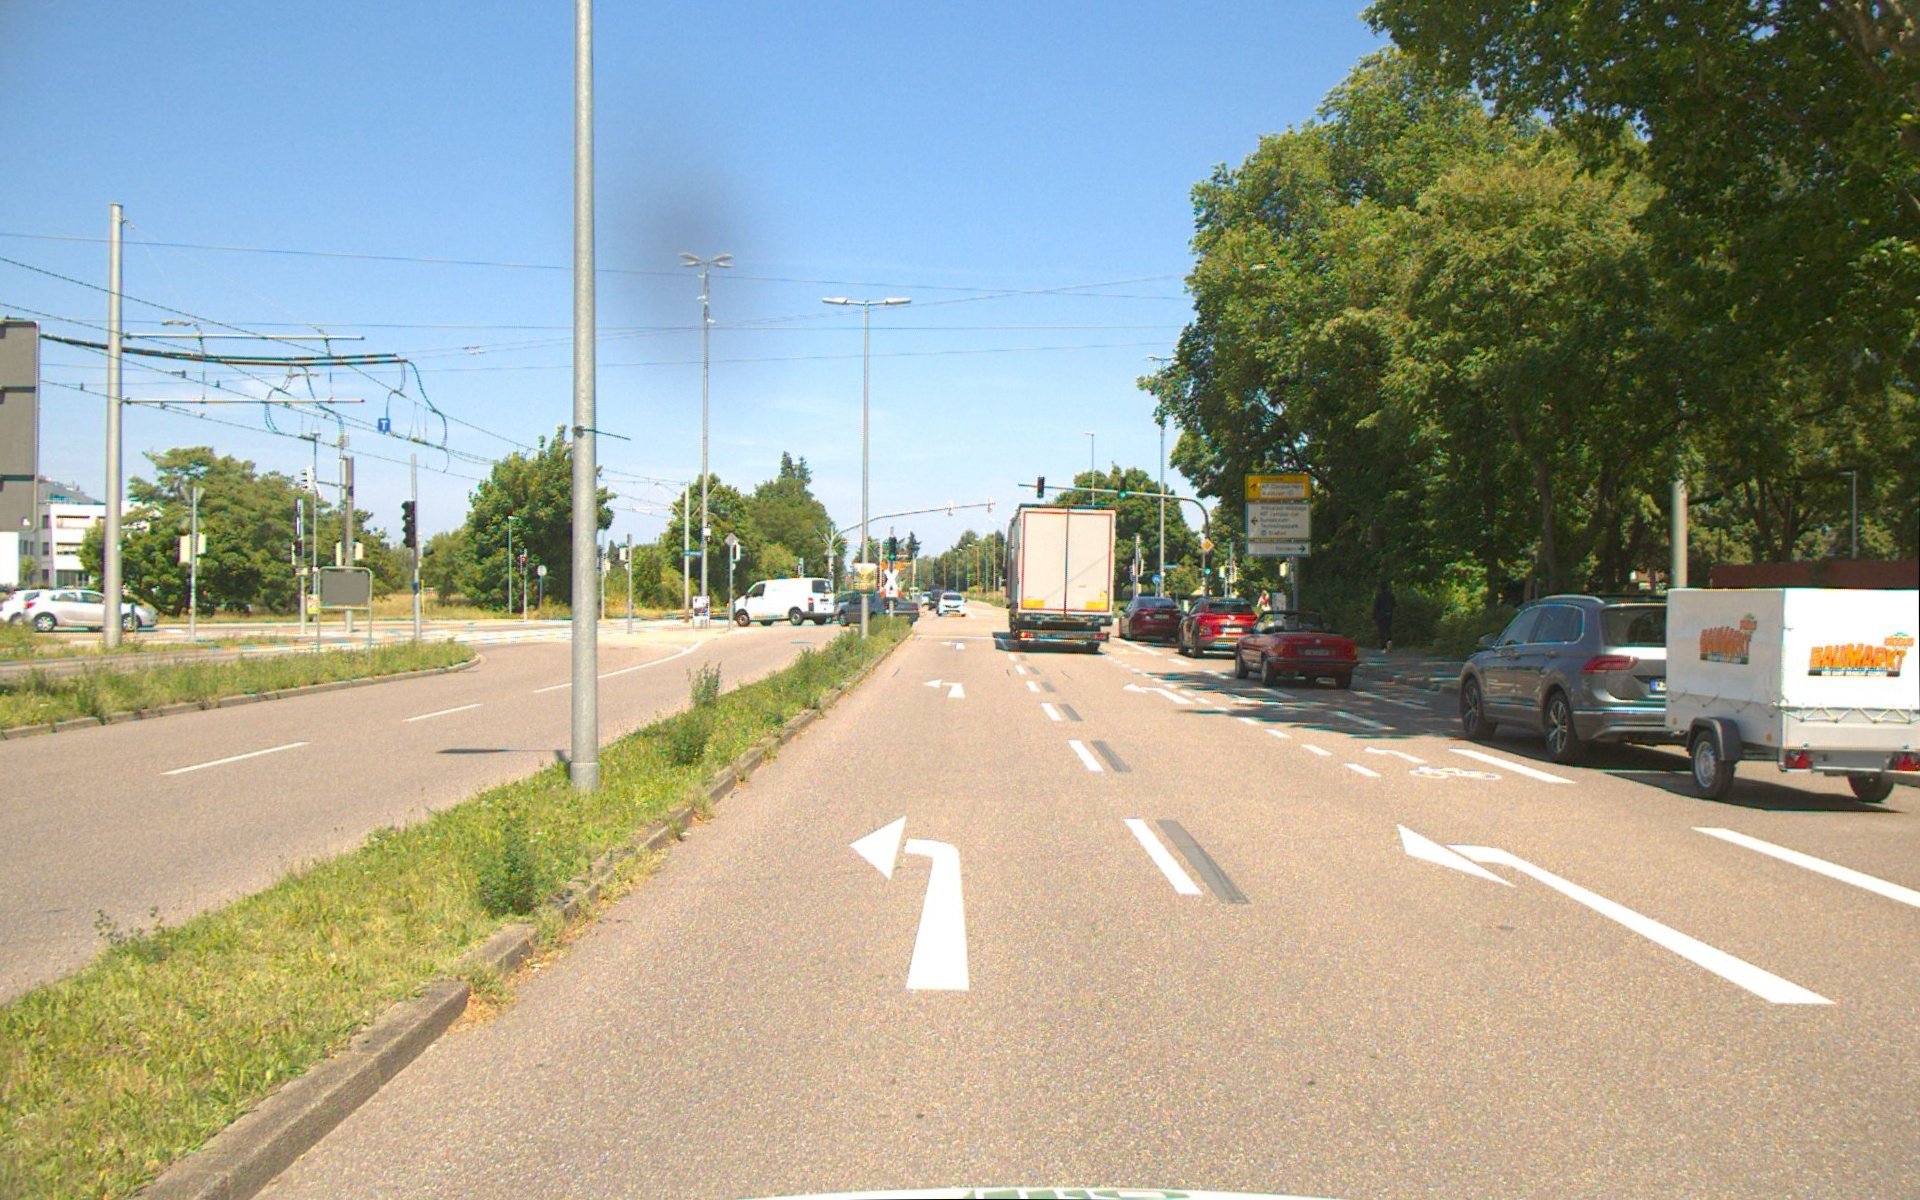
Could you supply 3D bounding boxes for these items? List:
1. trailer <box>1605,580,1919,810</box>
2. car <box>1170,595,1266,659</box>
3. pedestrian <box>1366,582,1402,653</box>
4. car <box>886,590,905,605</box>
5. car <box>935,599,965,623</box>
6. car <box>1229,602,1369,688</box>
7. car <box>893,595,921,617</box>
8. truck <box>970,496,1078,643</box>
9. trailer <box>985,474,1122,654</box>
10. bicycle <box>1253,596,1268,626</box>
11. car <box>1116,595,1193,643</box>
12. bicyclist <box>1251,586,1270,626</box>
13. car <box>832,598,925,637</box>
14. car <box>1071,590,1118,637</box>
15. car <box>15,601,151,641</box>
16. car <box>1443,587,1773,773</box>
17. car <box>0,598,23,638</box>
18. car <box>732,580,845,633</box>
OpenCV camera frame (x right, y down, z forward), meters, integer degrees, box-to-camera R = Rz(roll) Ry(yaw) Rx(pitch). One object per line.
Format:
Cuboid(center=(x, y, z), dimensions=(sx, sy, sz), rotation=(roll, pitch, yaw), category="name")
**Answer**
Cuboid(center=(6.731, 0.716, 13.878), dimensions=(1.439, 1.698, 2.855), rotation=(2, 0, -1), category="trailer")
Cuboid(center=(6.795, 0.672, 43.945), dimensions=(1.820, 1.576, 3.886), rotation=(2, 0, -1), category="car")
Cuboid(center=(11.221, 0.448, 43.757), dimensions=(0.737, 1.847, 0.693), rotation=(-1, 0, -1), category="pedestrian")
Cuboid(center=(-6.332, -0.249, 163.143), dimensions=(1.820, 1.396, 4.155), rotation=(2, 0, -1), category="car")
Cuboid(center=(-0.645, 0.702, 103.630), dimensions=(1.820, 1.396, 4.155), rotation=(2, 0, -1), category="car")
Cuboid(center=(6.260, 0.793, 30.954), dimensions=(1.621, 1.421, 4.266), rotation=(2, 0, -1), category="car")
Cuboid(center=(-3.583, 0.401, 112.777), dimensions=(1.820, 1.396, 4.155), rotation=(2, 0, -1), category="car")
Cuboid(center=(1.999, -1.003, 54.976), dimensions=(2.770, 4.420, 8.280), rotation=(2, 1, -3), category="truck")
Cuboid(center=(2.448, -0.938, 46.487), dimensions=(2.771, 4.499, 8.743), rotation=(2, 0, -3), category="trailer")
Cuboid(center=(13.550, 0.491, 74.600), dimensions=(0.630, 1.327, 1.627), rotation=(-2, -1, 11), category="bicycle")
Cuboid(center=(6.612, 0.607, 56.603), dimensions=(1.953, 1.529, 4.500), rotation=(0, 1, -2), category="car")
Cuboid(center=(13.538, 0.284, 74.494), dimensions=(0.785, 1.757, 0.679), rotation=(-2, -1, 11), category="bicyclist")
Cuboid(center=(-3.298, 0.677, 66.005), dimensions=(1.873, 1.396, 4.385), rotation=(2, 0, -30), category="car")
Cuboid(center=(6.475, 0.648, 79.972), dimensions=(1.852, 2.158, 3.886), rotation=(2, 0, -1), category="car")
Cuboid(center=(-31.349, 0.730, 59.119), dimensions=(4.224, 1.316, 1.979), rotation=(0, 1, -31), category="car")
Cuboid(center=(6.652, 0.732, 17.532), dimensions=(1.665, 1.683, 4.397), rotation=(2, 0, -1), category="car")
Cuboid(center=(-36.453, 0.644, 60.031), dimensions=(4.224, 1.437, 1.879), rotation=(0, 1, -31), category="car")
Cuboid(center=(-7.425, 0.244, 71.514), dimensions=(4.649, 2.148, 1.994), rotation=(1, 1, 34), category="car")
